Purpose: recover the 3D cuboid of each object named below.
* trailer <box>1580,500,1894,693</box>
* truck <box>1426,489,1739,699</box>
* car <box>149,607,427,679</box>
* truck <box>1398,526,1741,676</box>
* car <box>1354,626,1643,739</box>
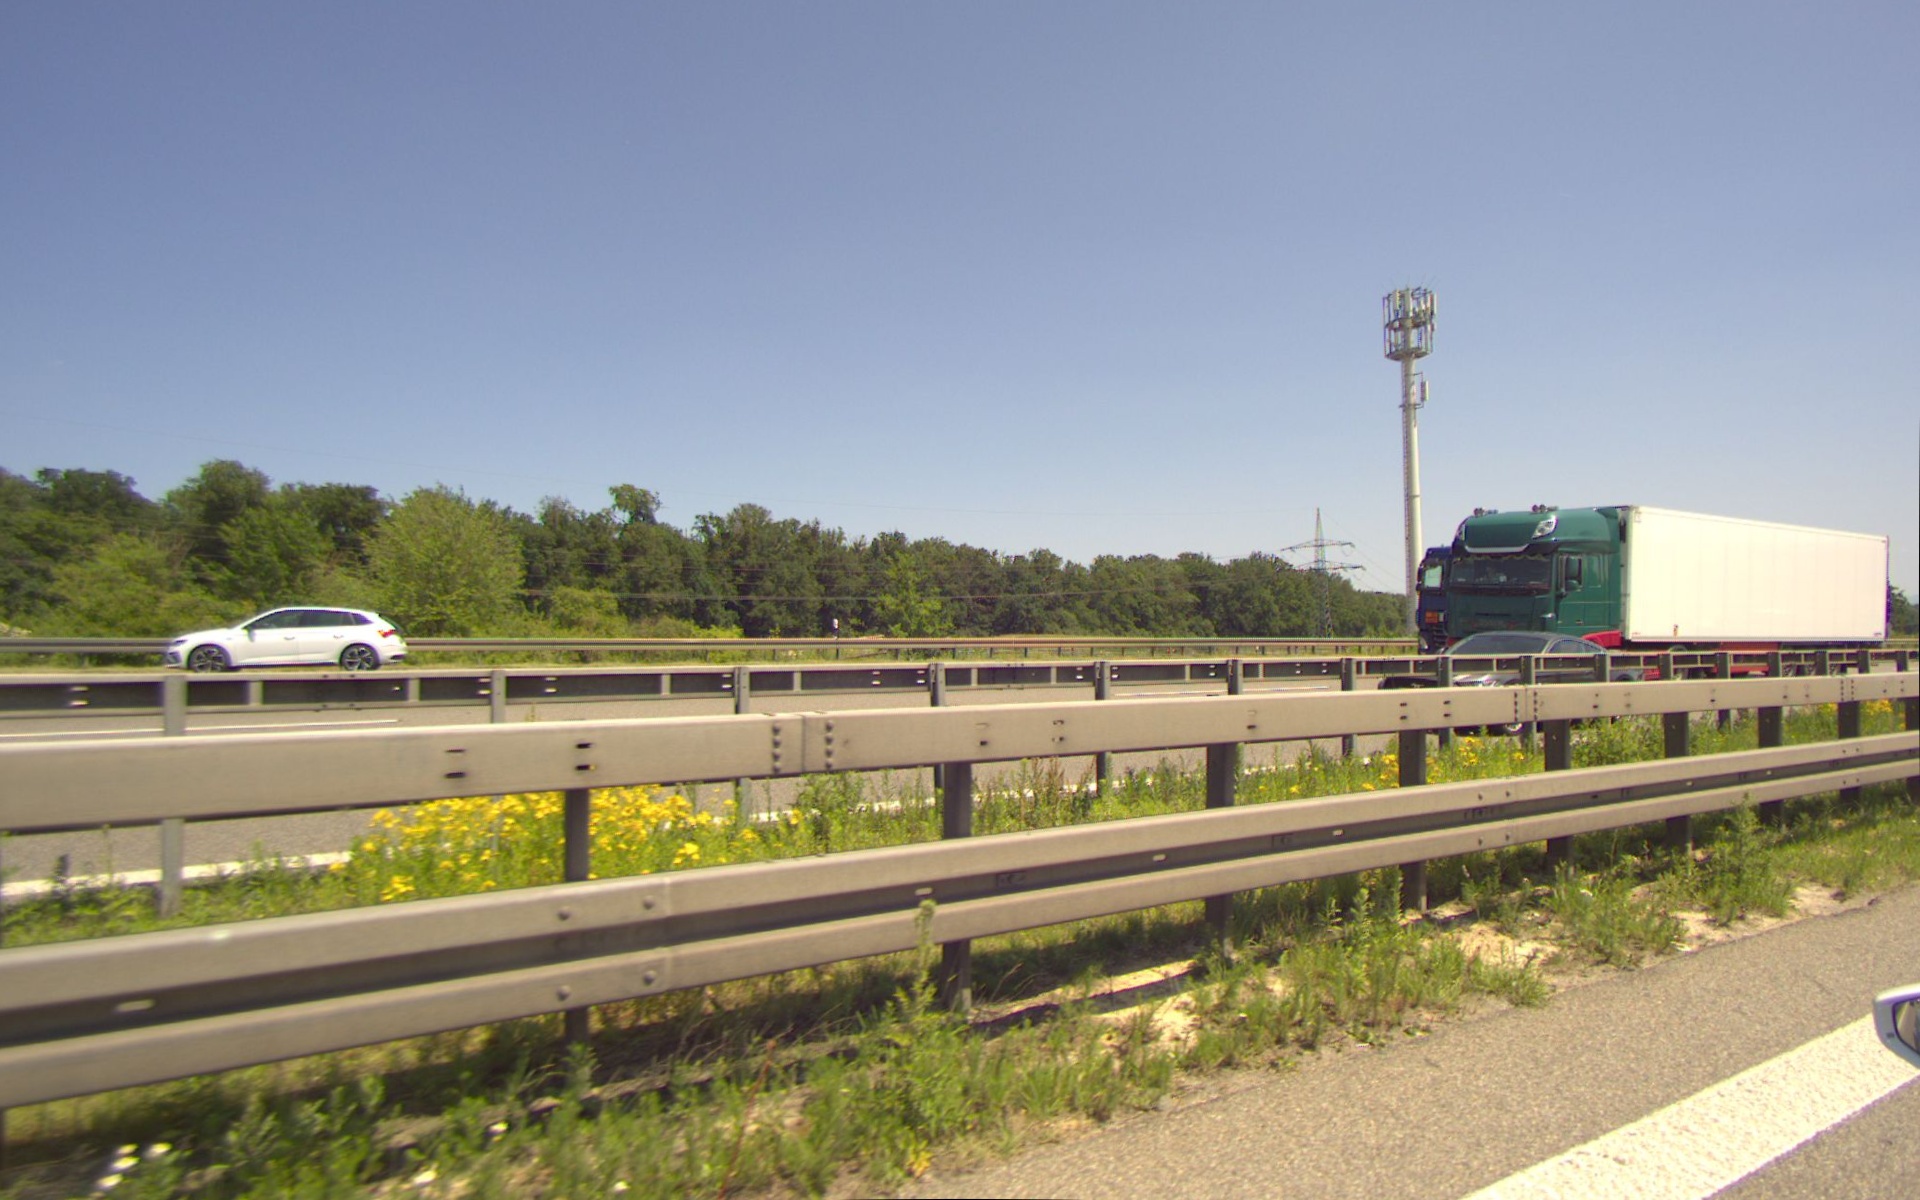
[{"bbox_3d":[21.183,0.049,27.104,10.608,4.430,2.941,2,0,-31],"label":"trailer"},{"bbox_3d":[14.447,-0.034,23.158,7.509,4.174,2.952,2,0,-30],"label":"truck"},{"bbox_3d":[-14.134,0.889,21.476,4.733,1.420,1.513,1,-1,-26],"label":"car"},{"bbox_3d":[18.711,0.134,30.313,12.750,3.836,3.203,1,0,-31],"label":"truck"},{"bbox_3d":[7.946,1.121,14.745,4.241,1.409,1.796,1,0,-30],"label":"car"}]
